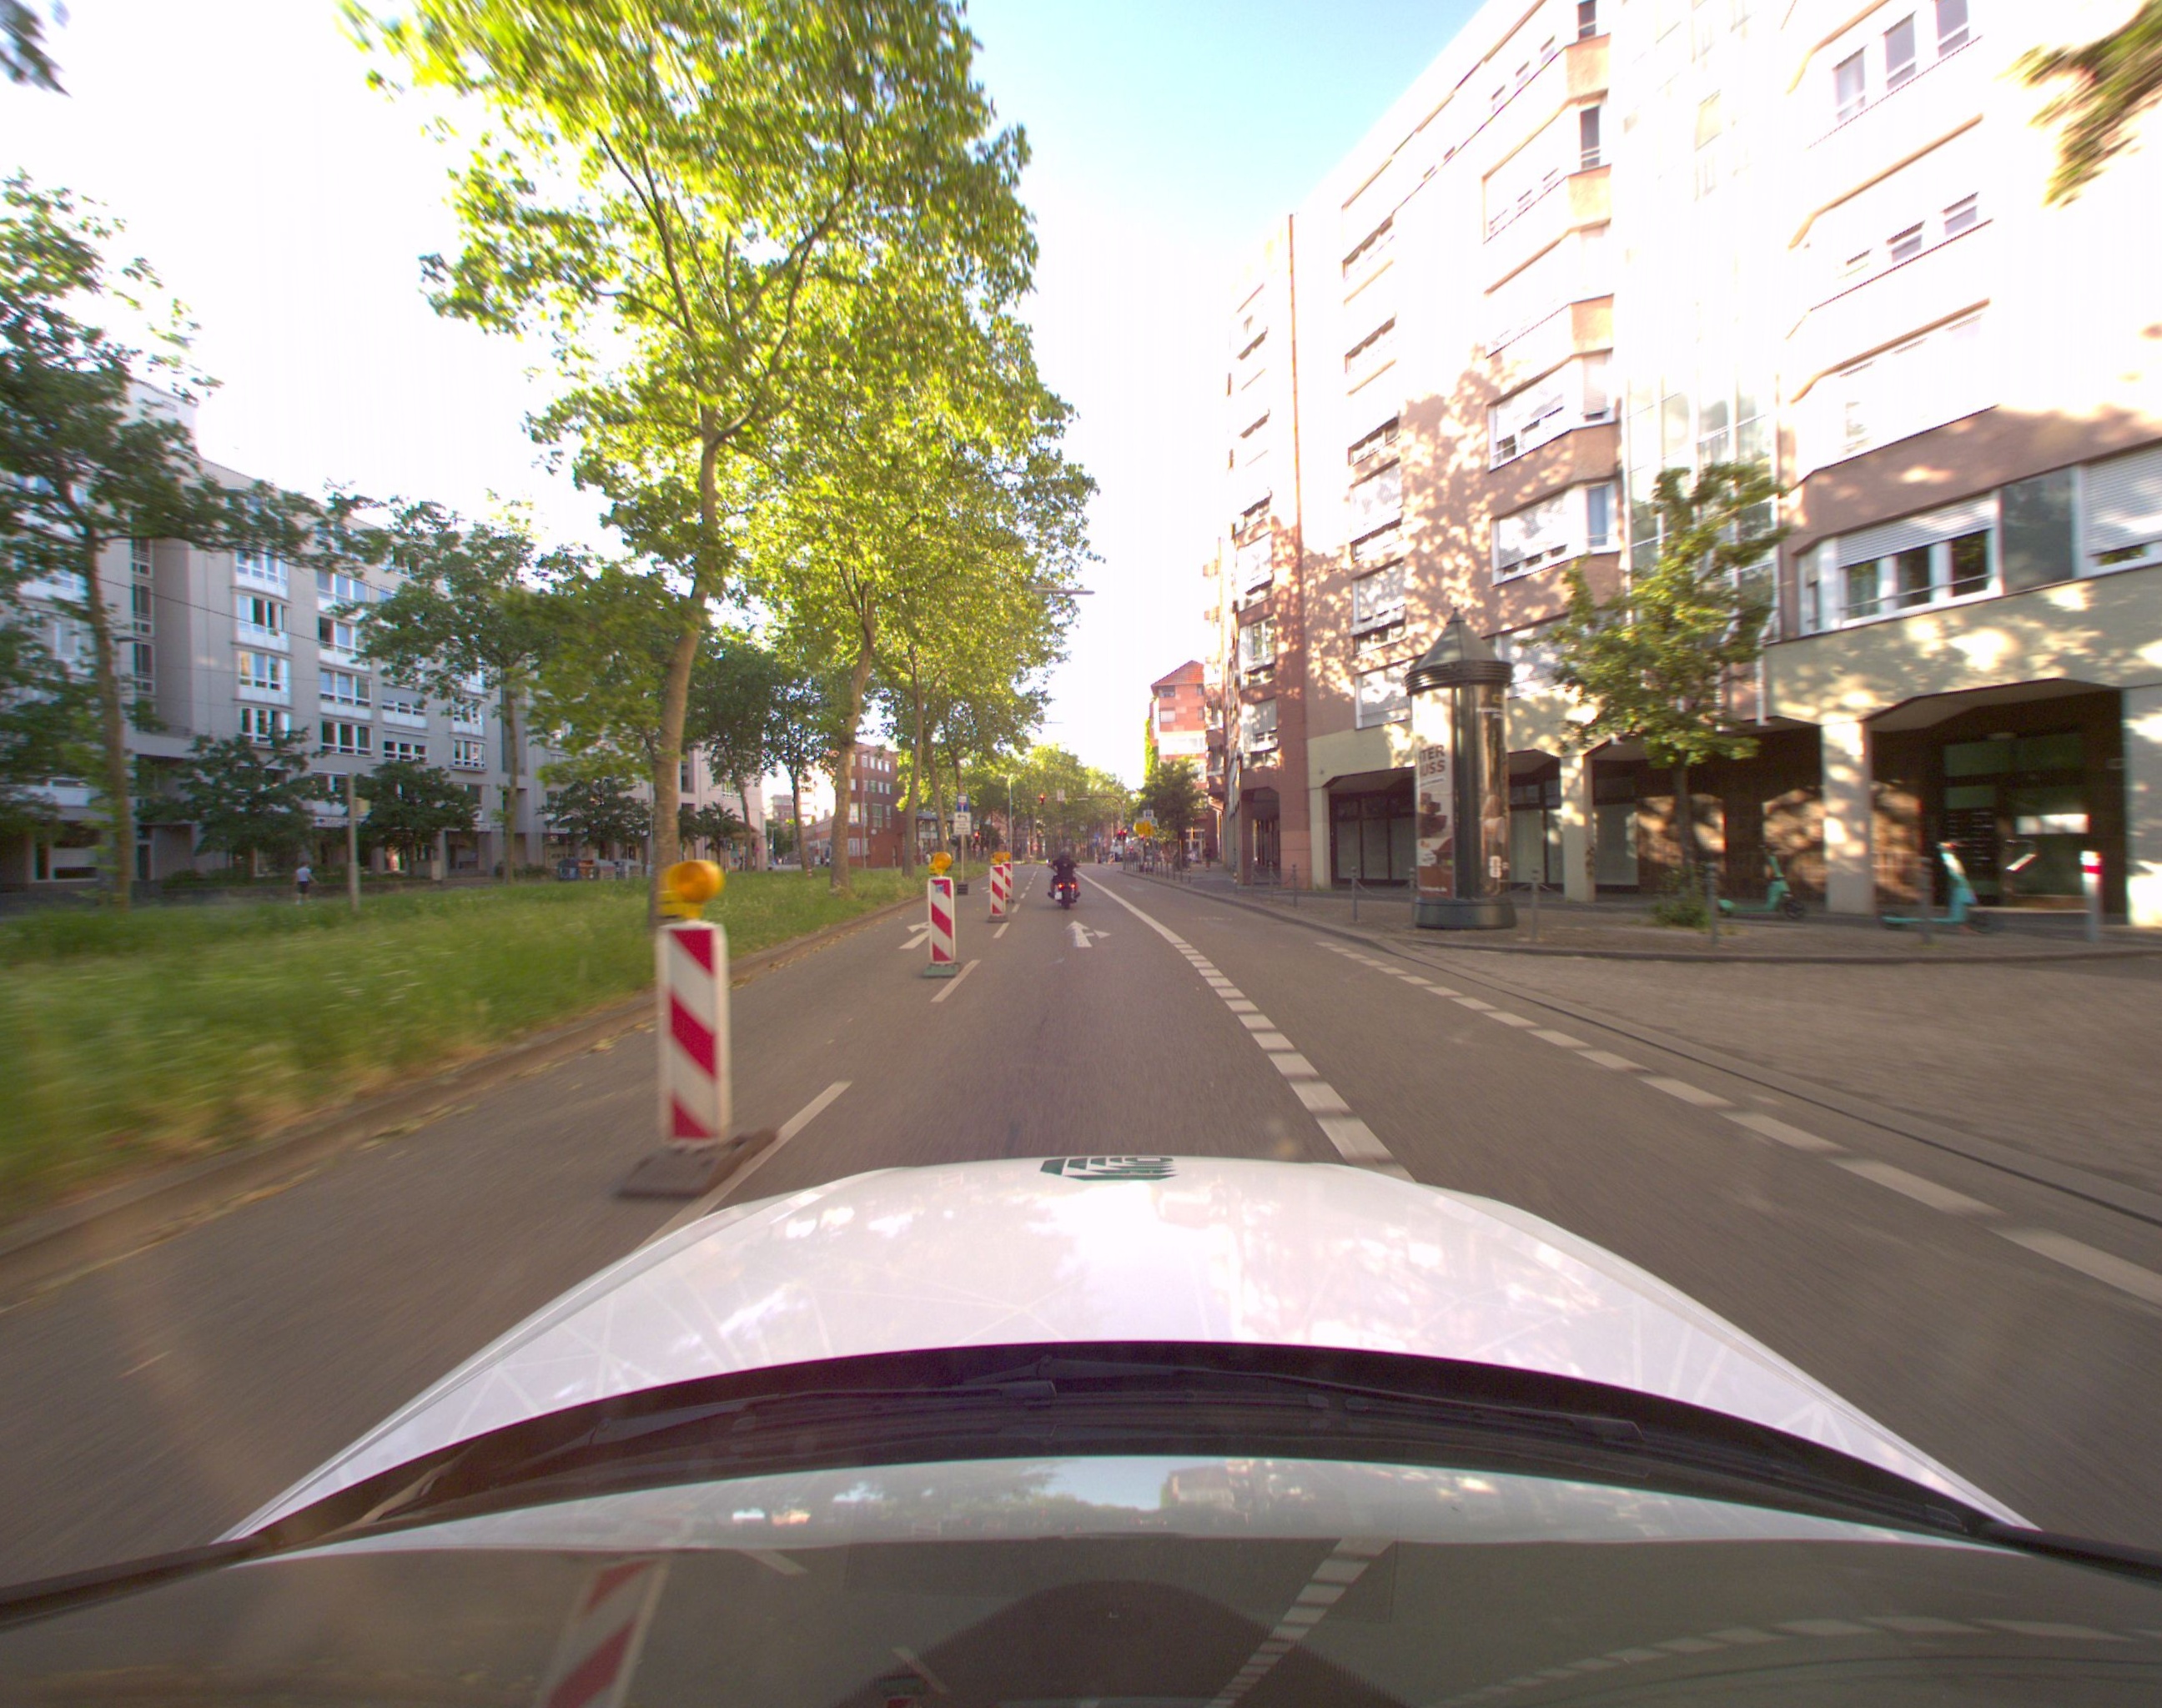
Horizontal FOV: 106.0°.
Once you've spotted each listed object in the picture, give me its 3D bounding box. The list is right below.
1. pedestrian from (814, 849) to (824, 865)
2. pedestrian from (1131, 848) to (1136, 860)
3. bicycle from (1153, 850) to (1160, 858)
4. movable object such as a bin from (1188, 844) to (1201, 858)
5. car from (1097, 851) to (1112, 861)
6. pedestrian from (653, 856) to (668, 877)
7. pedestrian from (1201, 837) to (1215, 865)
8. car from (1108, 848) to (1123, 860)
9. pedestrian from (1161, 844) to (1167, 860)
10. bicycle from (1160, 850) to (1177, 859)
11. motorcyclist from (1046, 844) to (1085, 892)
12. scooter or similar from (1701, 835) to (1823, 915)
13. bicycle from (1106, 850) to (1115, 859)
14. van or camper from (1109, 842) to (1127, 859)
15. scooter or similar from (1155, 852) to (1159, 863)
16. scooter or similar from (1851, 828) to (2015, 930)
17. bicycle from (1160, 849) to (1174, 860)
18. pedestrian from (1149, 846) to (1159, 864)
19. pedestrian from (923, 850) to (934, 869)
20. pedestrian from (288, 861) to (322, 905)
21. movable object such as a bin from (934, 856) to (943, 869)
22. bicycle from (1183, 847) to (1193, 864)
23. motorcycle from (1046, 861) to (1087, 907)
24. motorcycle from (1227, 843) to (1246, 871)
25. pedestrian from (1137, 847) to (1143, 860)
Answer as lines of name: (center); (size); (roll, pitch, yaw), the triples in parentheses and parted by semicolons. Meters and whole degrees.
pedestrian: (-32.256, 0.367, 100.274); (0.851, 1.869, 0.753); (-2, 0, 6)
pedestrian: (6.954, 0.024, 108.040); (0.642, 1.578, 0.748); (-1, 0, 2)
bicycle: (9.191, -0.049, 99.737); (0.734, 0.939, 1.753); (-1, 0, 2)
movable object such as a bin: (12.361, -0.283, 88.797); (1.401, 1.482, 0.874); (-1, 0, 9)
car: (3.090, 0.262, 107.468); (1.612, 1.302, 4.320); (-1, 0, 7)
pedestrian: (-33.399, 0.992, 64.719); (0.703, 1.638, 0.790); (-1, 0, 9)
pedestrian: (7.769, -0.190, 49.949); (0.777, 1.738, 0.838); (-1, 0, 7)
car: (4.982, -0.050, 117.361); (1.611, 1.619, 4.495); (-1, 0, 8)
pedestrian: (8.456, -0.189, 83.071); (0.459, 1.672, 0.677); (-1, 0, -10)
bicycle: (10.166, 0.084, 94.815); (1.730, 1.053, 0.744); (-1, 0, 25)
motorcyclist: (-0.411, 0.368, 21.760); (1.009, 1.263, 0.773); (1, 0, -2)
scooter or similar: (10.957, 0.318, 13.160); (0.486, 1.216, 1.440); (-1, 0, -21)
bicycle: (3.637, 0.015, 100.327); (0.737, 1.053, 1.746); (-1, 0, -11)
van or camper: (5.690, -0.538, 123.802); (2.037, 2.540, 5.786); (-1, 0, 8)
scooter or similar: (7.764, 0.367, 83.226); (0.392, 1.158, 1.251); (-1, 0, 4)
scooter or similar: (11.443, 0.311, 10.990); (0.486, 1.274, 1.440); (-1, 0, -21)
bicycle: (9.652, 0.049, 91.557); (1.560, 1.227, 0.578); (-1, 0, 3)
pedestrian: (7.430, 0.091, 83.310); (0.788, 1.763, 0.606); (-1, 0, -19)
pedestrian: (-12.028, 0.420, 64.212); (0.614, 1.503, 0.537); (-1, 0, 15)
pedestrian: (-31.778, 1.169, 33.347); (0.726, 1.740, 0.648); (-1, 0, 1)
movable object such as a bin: (-11.307, 0.672, 64.471); (0.507, 0.953, 0.541); (-1, 0, 11)
bicycle: (7.929, 0.109, 60.271); (0.618, 1.225, 1.932); (-1, 0, 11)
motorcycle: (-0.393, 0.770, 21.667); (1.015, 1.097, 2.006); (-1, 0, -2)
motorcycle: (7.903, 0.131, 41.441); (0.487, 1.372, 2.089); (-1, 0, -1)
pedestrian: (7.785, -0.041, 107.962); (0.697, 1.733, 0.768); (-1, 0, 2)
